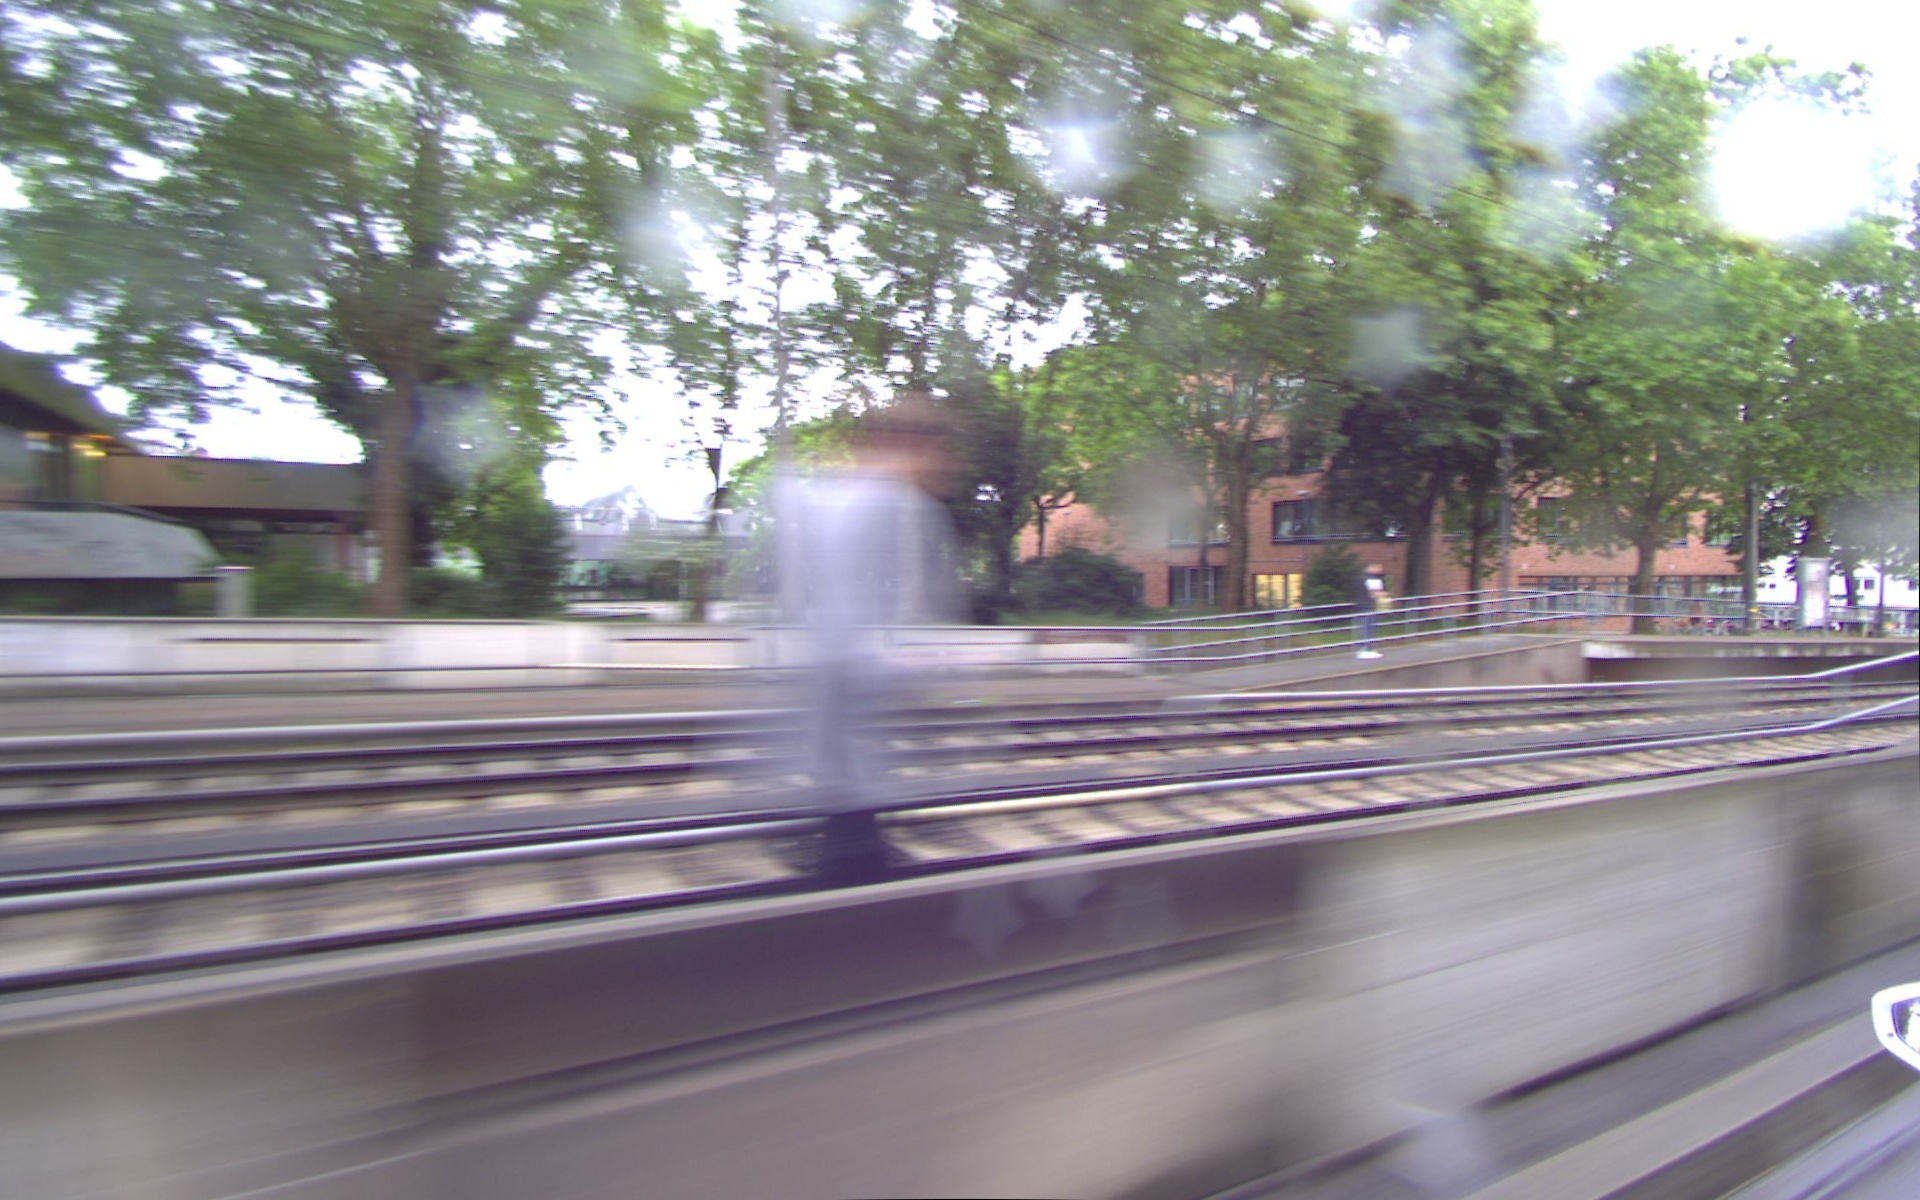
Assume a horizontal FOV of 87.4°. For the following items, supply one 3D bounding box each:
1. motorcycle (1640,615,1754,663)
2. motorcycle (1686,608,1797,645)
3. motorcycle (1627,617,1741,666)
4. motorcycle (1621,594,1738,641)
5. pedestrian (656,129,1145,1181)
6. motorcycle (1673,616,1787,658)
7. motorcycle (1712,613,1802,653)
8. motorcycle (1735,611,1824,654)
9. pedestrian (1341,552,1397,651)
[{"bbox_3d":[31.828,1.667,43.472,0.995,1.840,3.844,2,0,-31],"label":"motorcycle"},{"bbox_3d":[35.419,1.181,45.623,0.995,1.507,3.844,2,0,-31],"label":"motorcycle"},{"bbox_3d":[30.848,1.750,42.894,0.995,1.840,3.844,2,0,-31],"label":"motorcycle"},{"bbox_3d":[29.875,0.685,41.842,0.995,1.797,3.844,2,0,-31],"label":"motorcycle"},{"bbox_3d":[-0.182,0.101,2.309,0.778,1.823,0.855,1,1,-30],"label":"pedestrian"},{"bbox_3d":[33.881,1.604,44.293,0.995,1.627,3.844,2,0,-31],"label":"motorcycle"},{"bbox_3d":[36.491,1.487,46.053,0.995,1.649,3.042,2,0,-31],"label":"motorcycle"},{"bbox_3d":[38.081,1.481,46.739,0.982,1.840,3.021,2,0,-31],"label":"motorcycle"},{"bbox_3d":[7.232,0.009,17.774,0.679,1.686,0.654,-3,3,-30],"label":"pedestrian"}]
